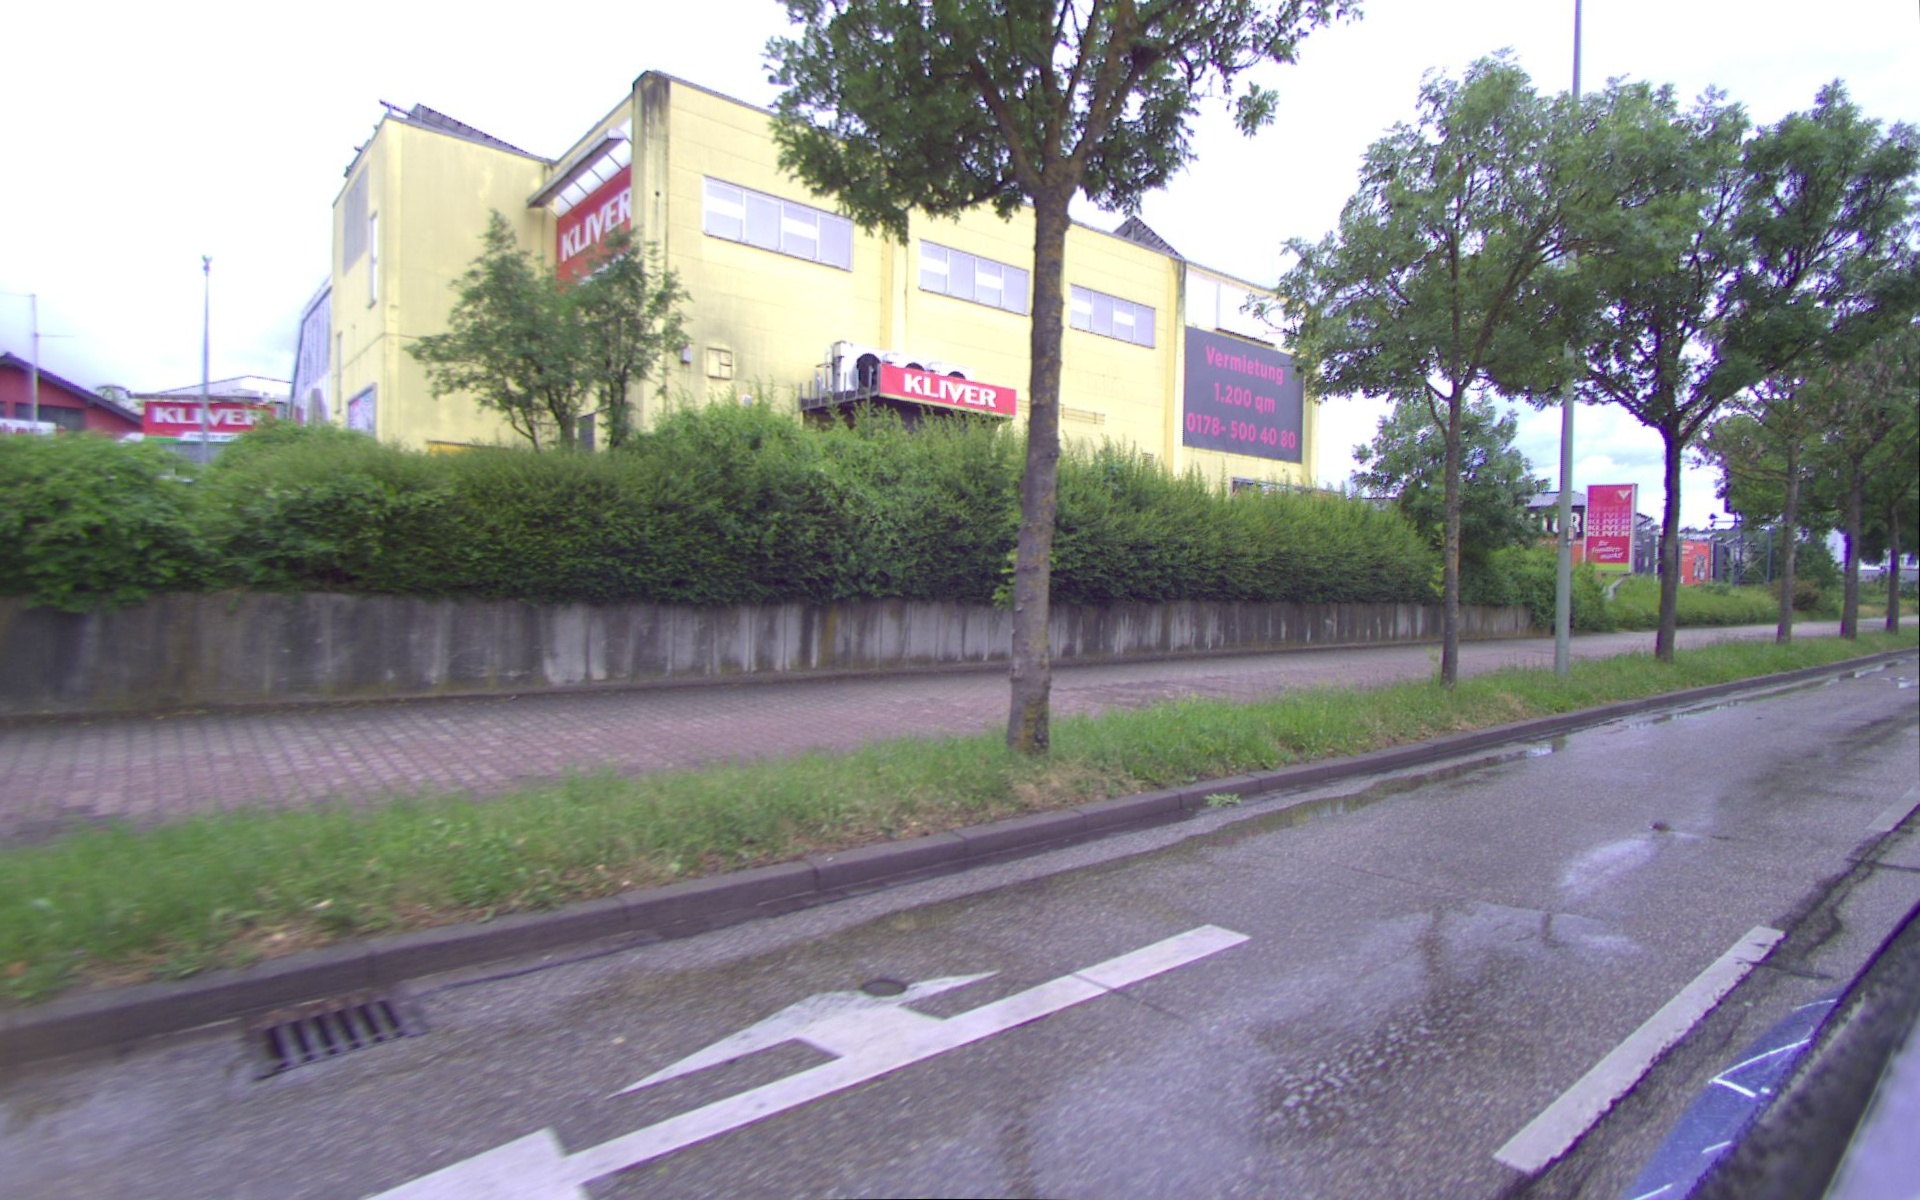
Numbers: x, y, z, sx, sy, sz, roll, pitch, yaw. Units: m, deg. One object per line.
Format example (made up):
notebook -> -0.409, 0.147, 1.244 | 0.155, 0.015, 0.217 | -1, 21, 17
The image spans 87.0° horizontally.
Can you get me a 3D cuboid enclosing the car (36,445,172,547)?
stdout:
car -> -17.612, -2.038, 20.808 | 1.966, 1.801, 3.994 | 1, 2, -42
